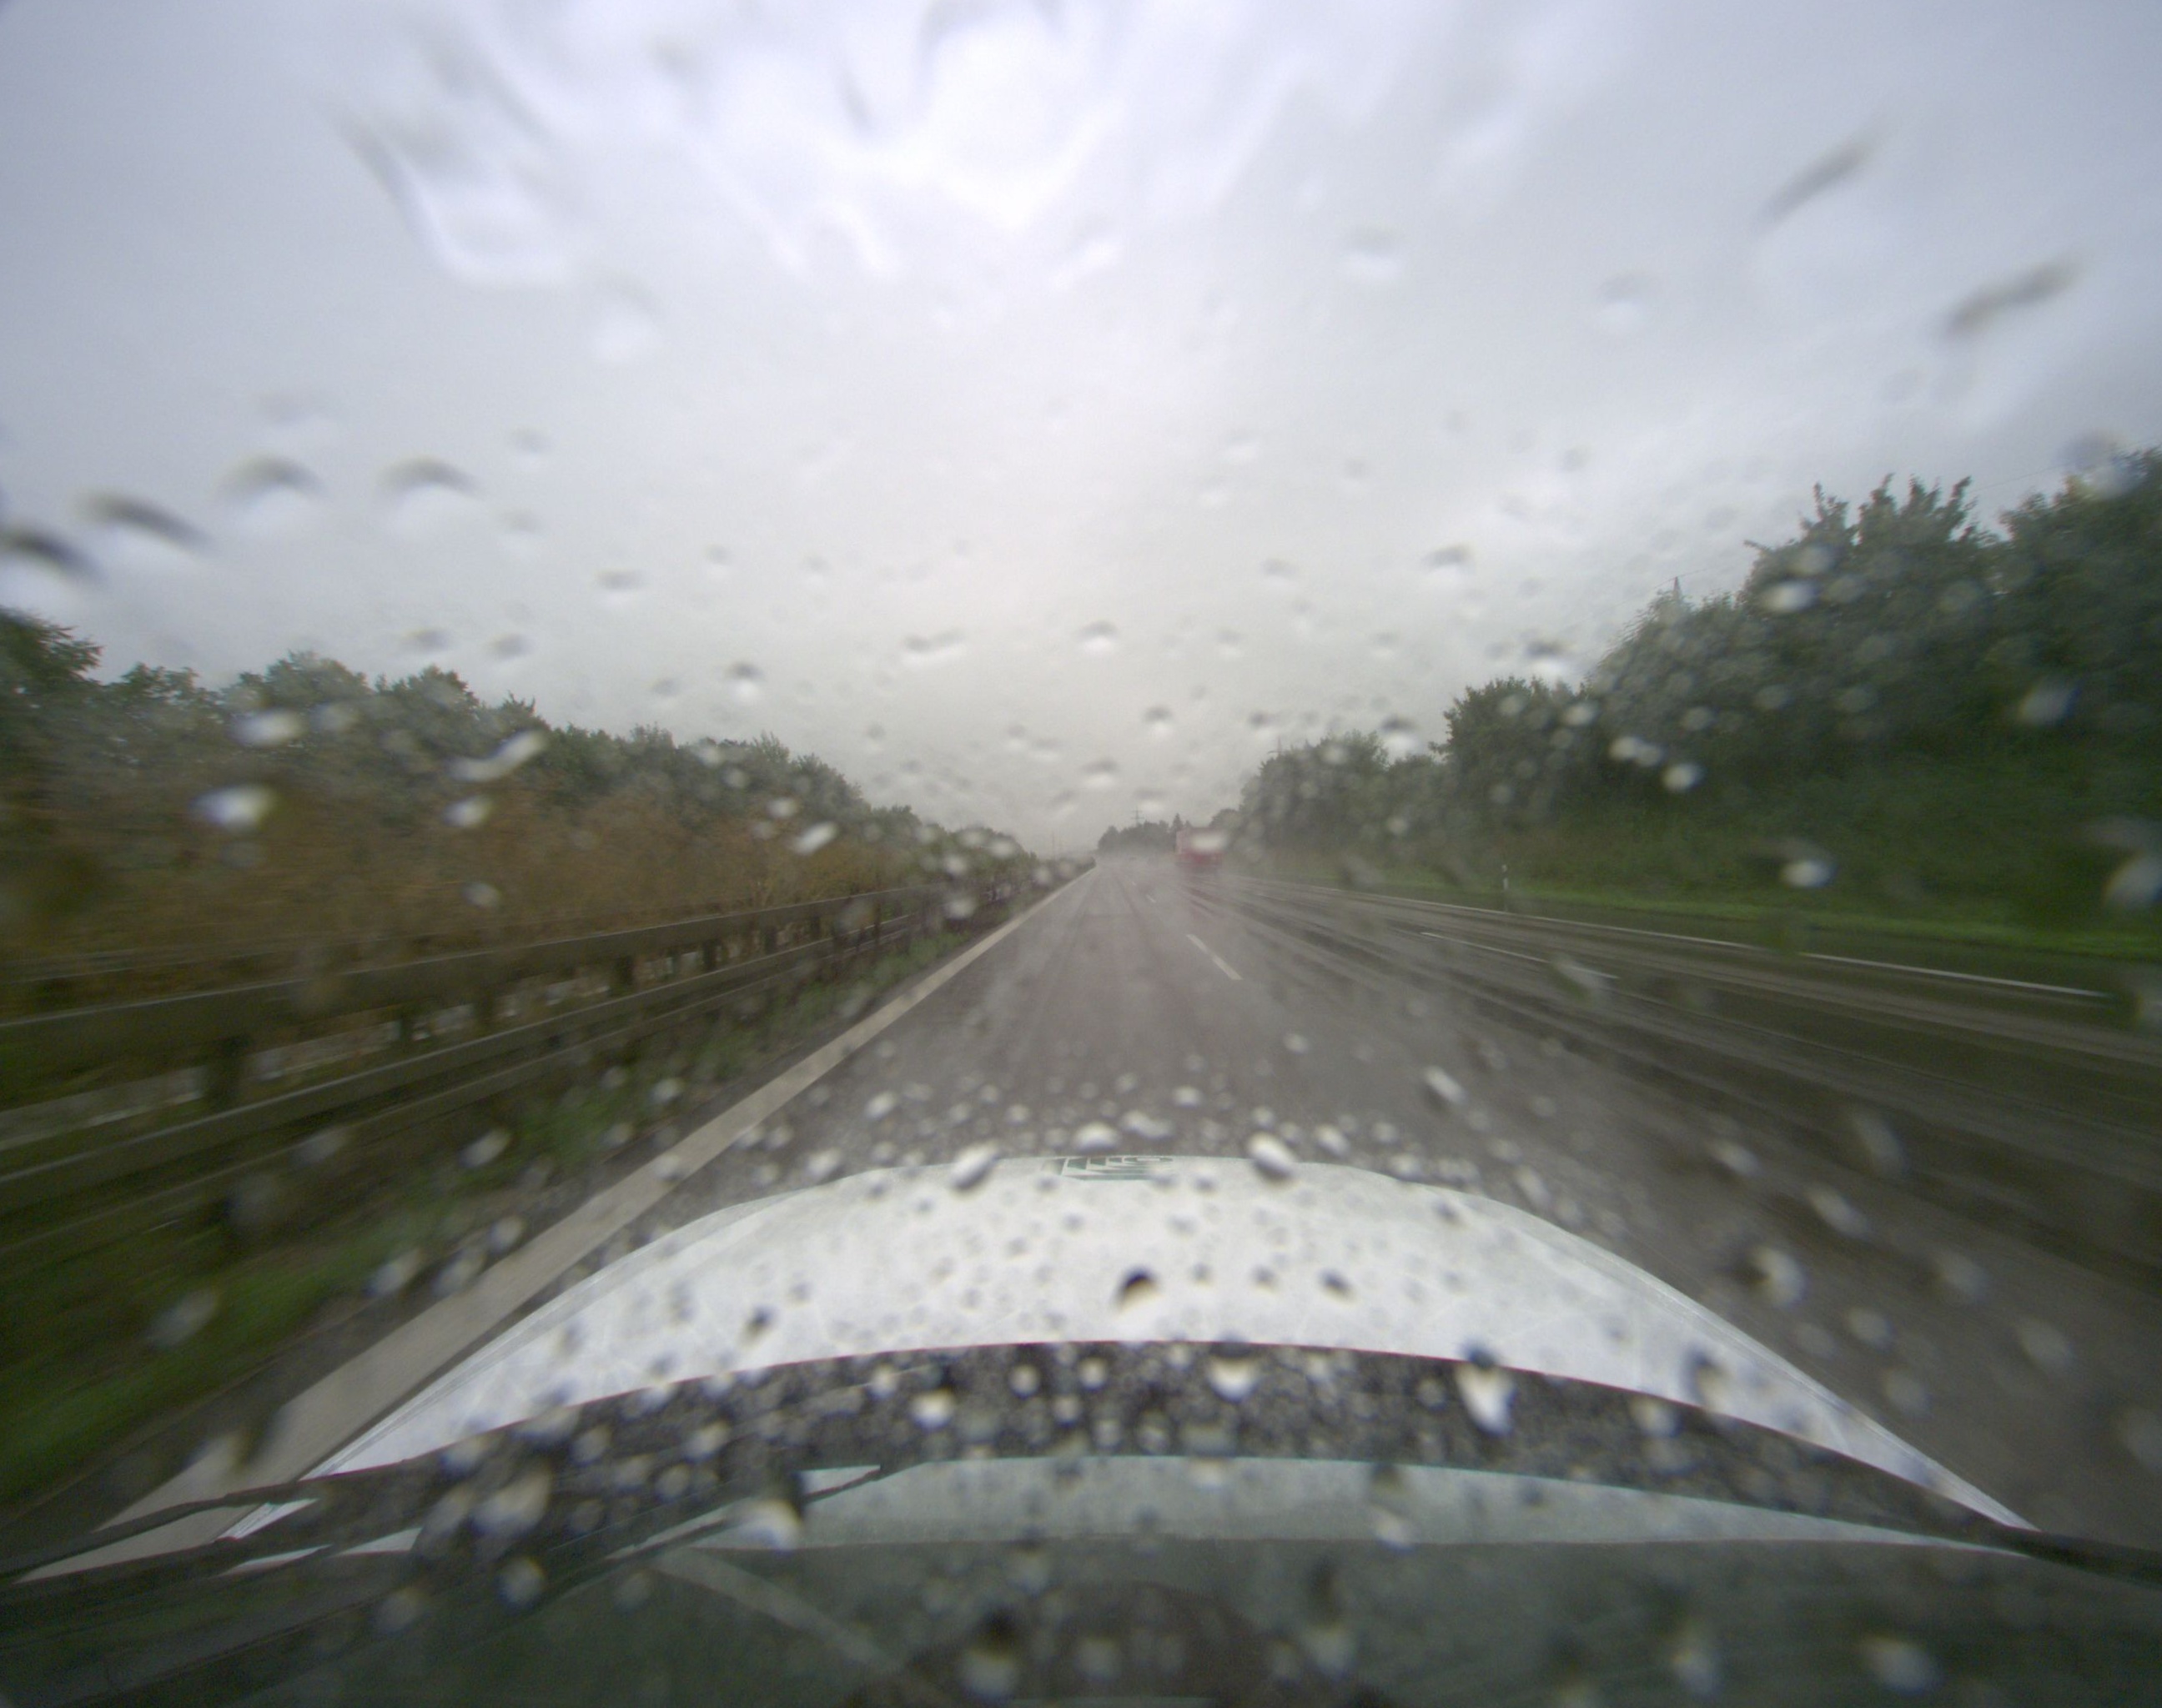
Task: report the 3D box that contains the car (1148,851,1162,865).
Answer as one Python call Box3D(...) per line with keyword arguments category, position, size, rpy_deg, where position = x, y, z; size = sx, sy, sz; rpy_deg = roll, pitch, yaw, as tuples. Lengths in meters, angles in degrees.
Box3D(category="car", position=(13.016, 0.692, 142.602), size=(1.802, 2.158, 3.997), rpy_deg=(-4, 0, -2))

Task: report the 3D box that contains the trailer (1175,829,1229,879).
Box3D(category="trailer", position=(10.794, 0.110, 74.209), size=(2.612, 3.955, 13.627), rpy_deg=(-4, -1, 0))
